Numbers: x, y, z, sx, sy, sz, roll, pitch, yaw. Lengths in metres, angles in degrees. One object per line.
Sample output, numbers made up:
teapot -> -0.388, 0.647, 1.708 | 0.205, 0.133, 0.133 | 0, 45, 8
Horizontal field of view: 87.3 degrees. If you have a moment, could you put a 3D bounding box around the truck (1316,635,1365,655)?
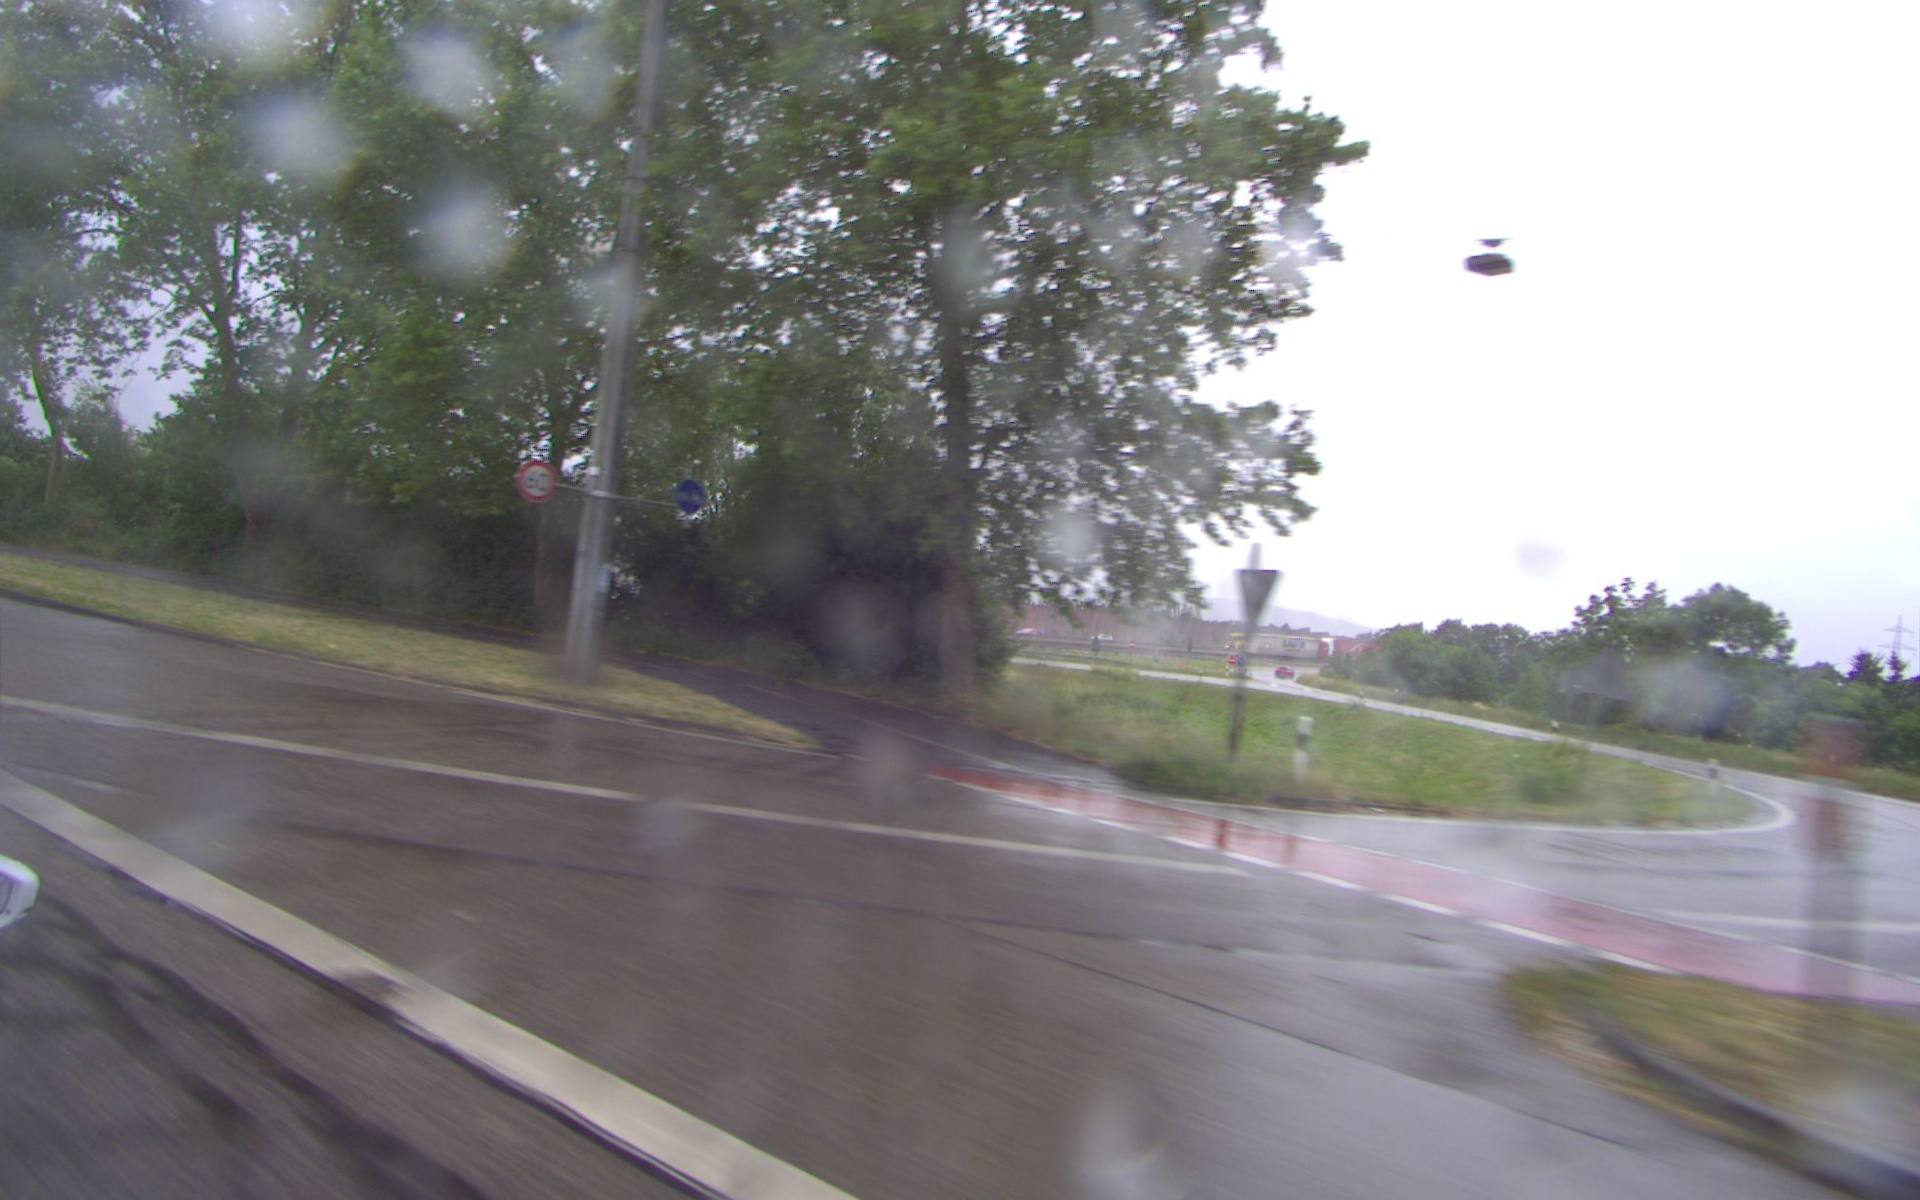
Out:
truck -> 74.484, 8.794, 196.812 | 9.900, 3.242, 3.030 | 4, 1, -27

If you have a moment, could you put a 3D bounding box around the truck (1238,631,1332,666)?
truck -> 51.250, 7.703, 158.118 | 16.575, 4.212, 3.267 | 5, 1, -29
